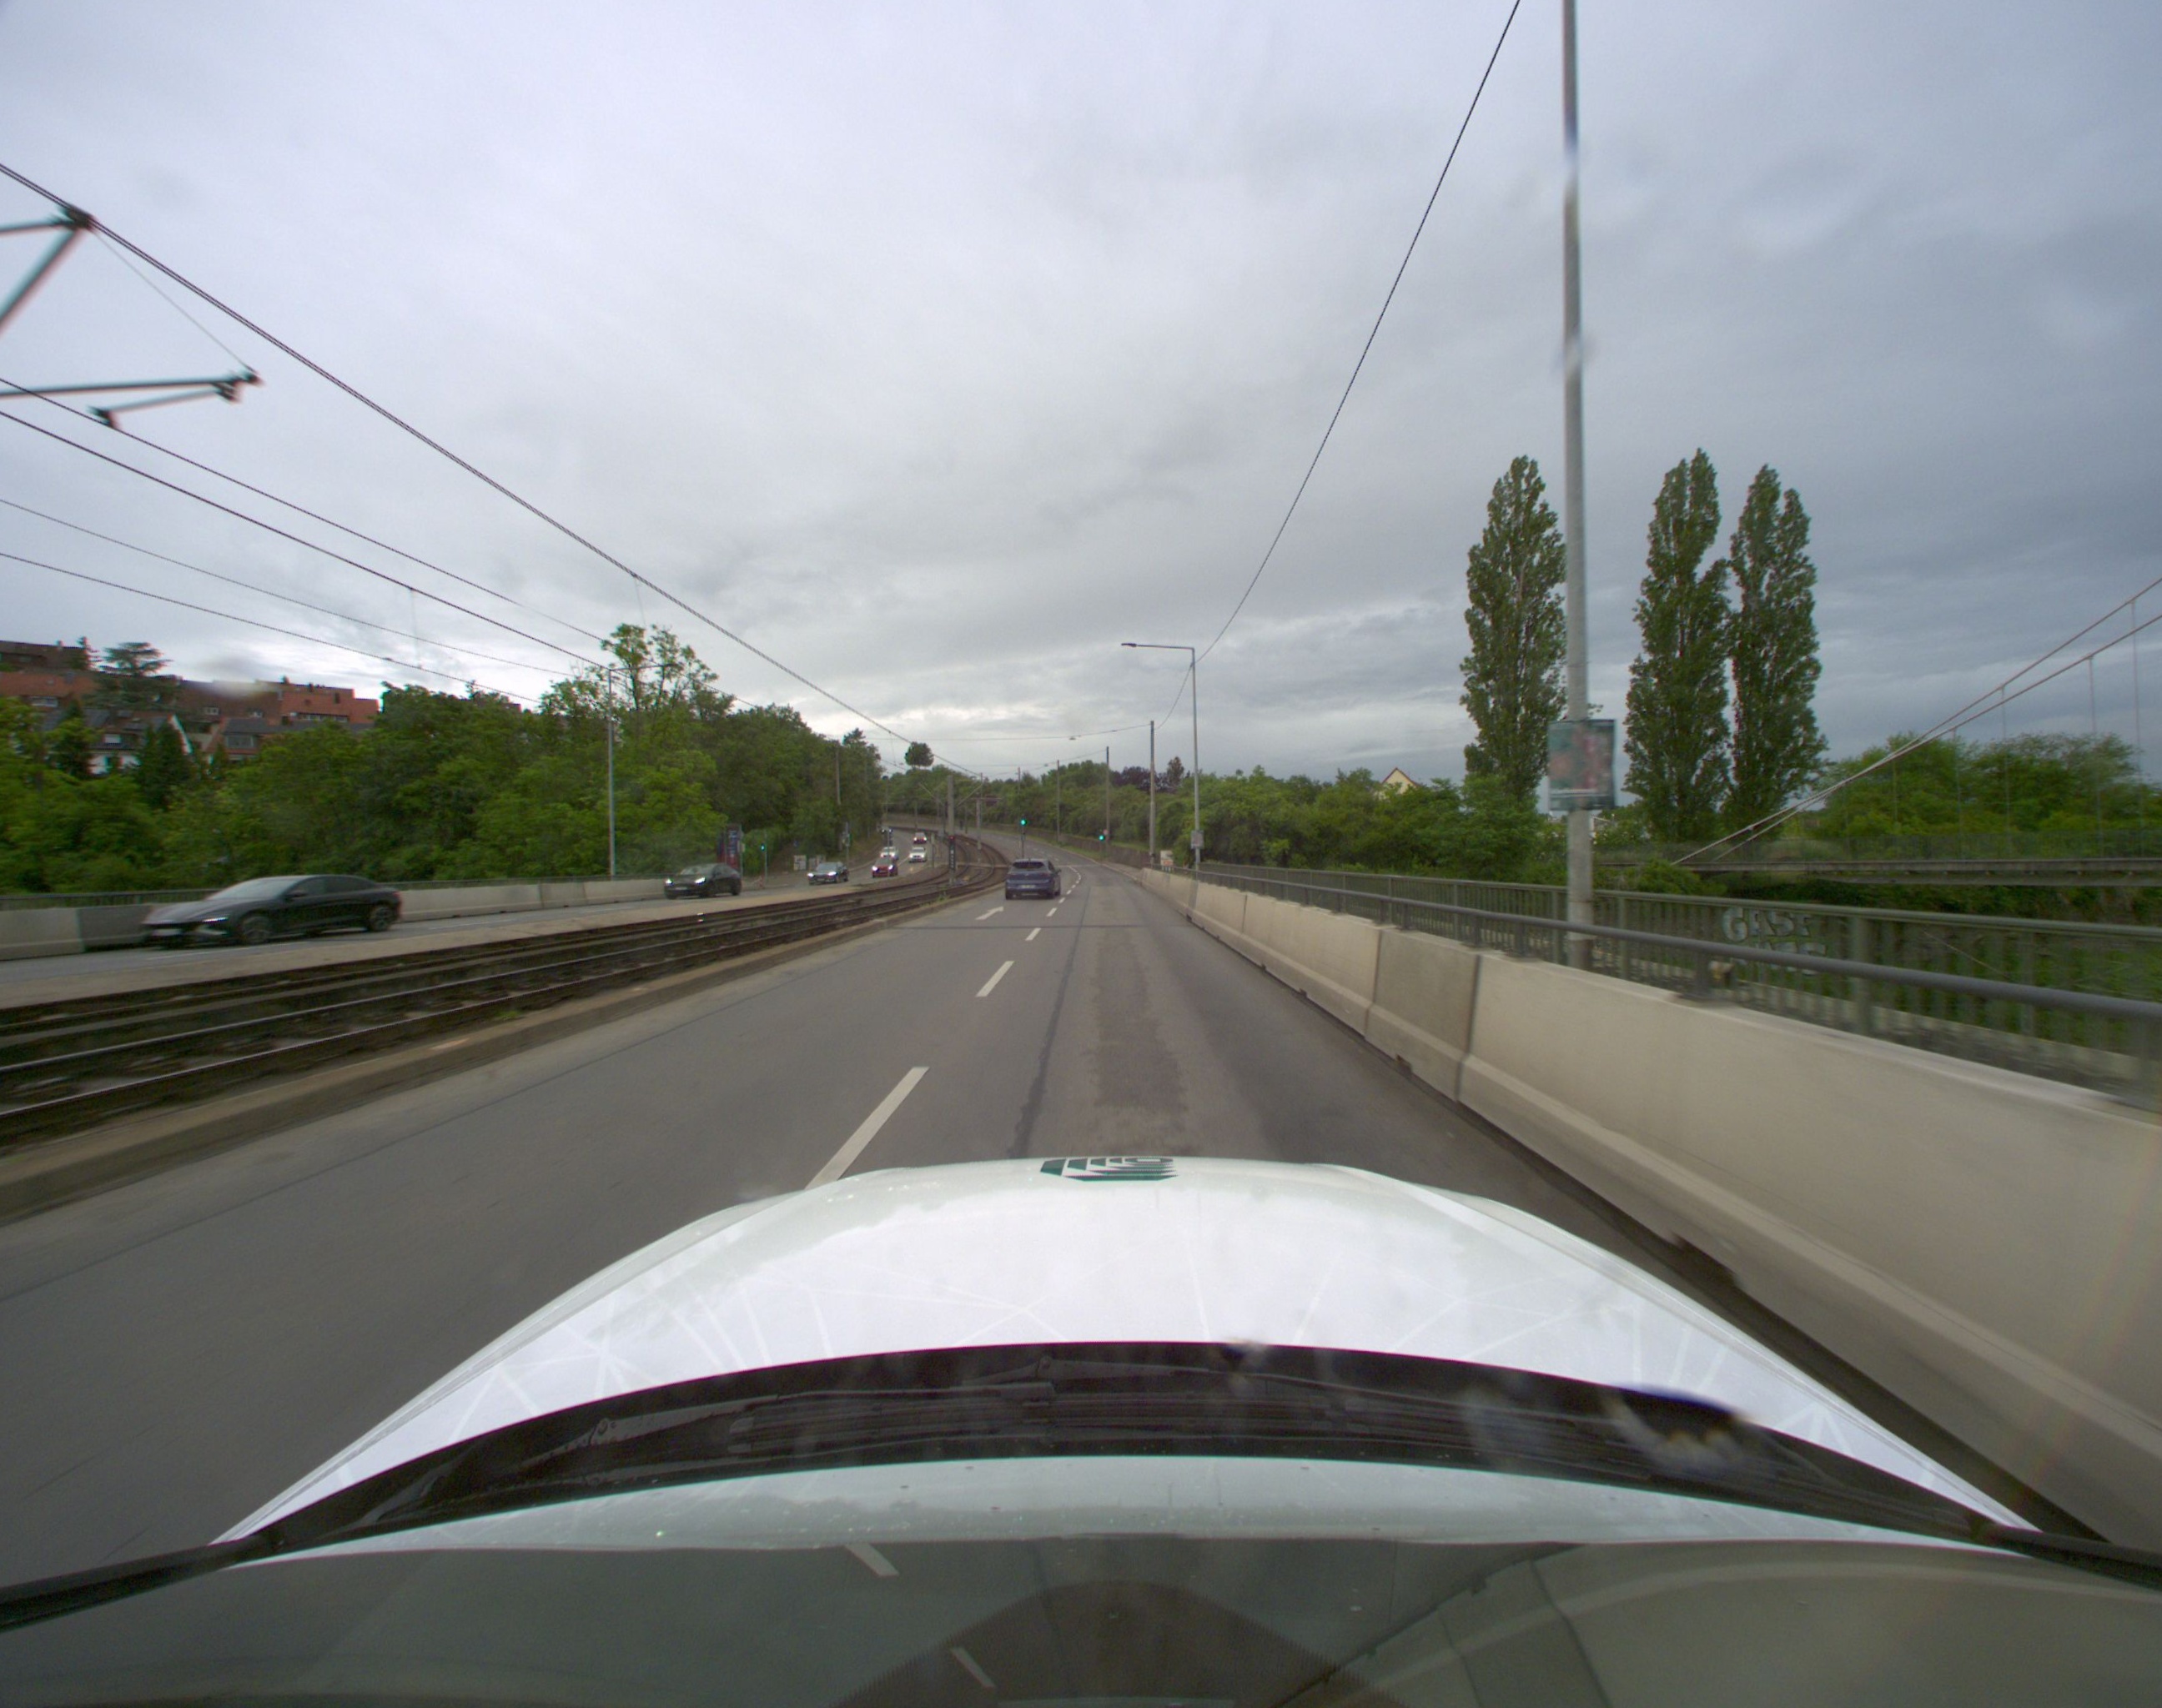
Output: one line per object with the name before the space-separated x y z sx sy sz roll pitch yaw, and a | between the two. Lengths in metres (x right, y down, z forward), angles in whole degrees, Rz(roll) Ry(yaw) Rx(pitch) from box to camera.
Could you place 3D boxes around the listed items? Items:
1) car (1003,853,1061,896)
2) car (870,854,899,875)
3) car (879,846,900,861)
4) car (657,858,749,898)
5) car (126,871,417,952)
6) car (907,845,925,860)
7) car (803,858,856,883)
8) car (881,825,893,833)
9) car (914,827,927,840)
car | -1.768 0.720 30.541 1.757 1.501 4.002 0 0 2
car | -15.488 0.791 64.454 1.597 1.493 3.015 -2 2 -2
car | -20.736 -0.050 88.323 1.820 1.515 4.517 -1 0 -8
car | -17.444 1.045 37.872 1.889 1.597 4.734 -2 1 1
car | -18.145 1.204 18.675 1.809 1.436 4.743 -1 0 2
car | -17.438 -0.135 86.150 1.732 1.437 4.472 -2 -1 -13
car | -17.624 1.126 57.295 1.962 1.597 5.186 -2 -1 1
car | -37.789 -4.866 158.366 1.722 1.458 4.247 -3 3 -20
car | -24.235 -3.051 123.198 1.848 1.596 4.717 -2 5 -11
